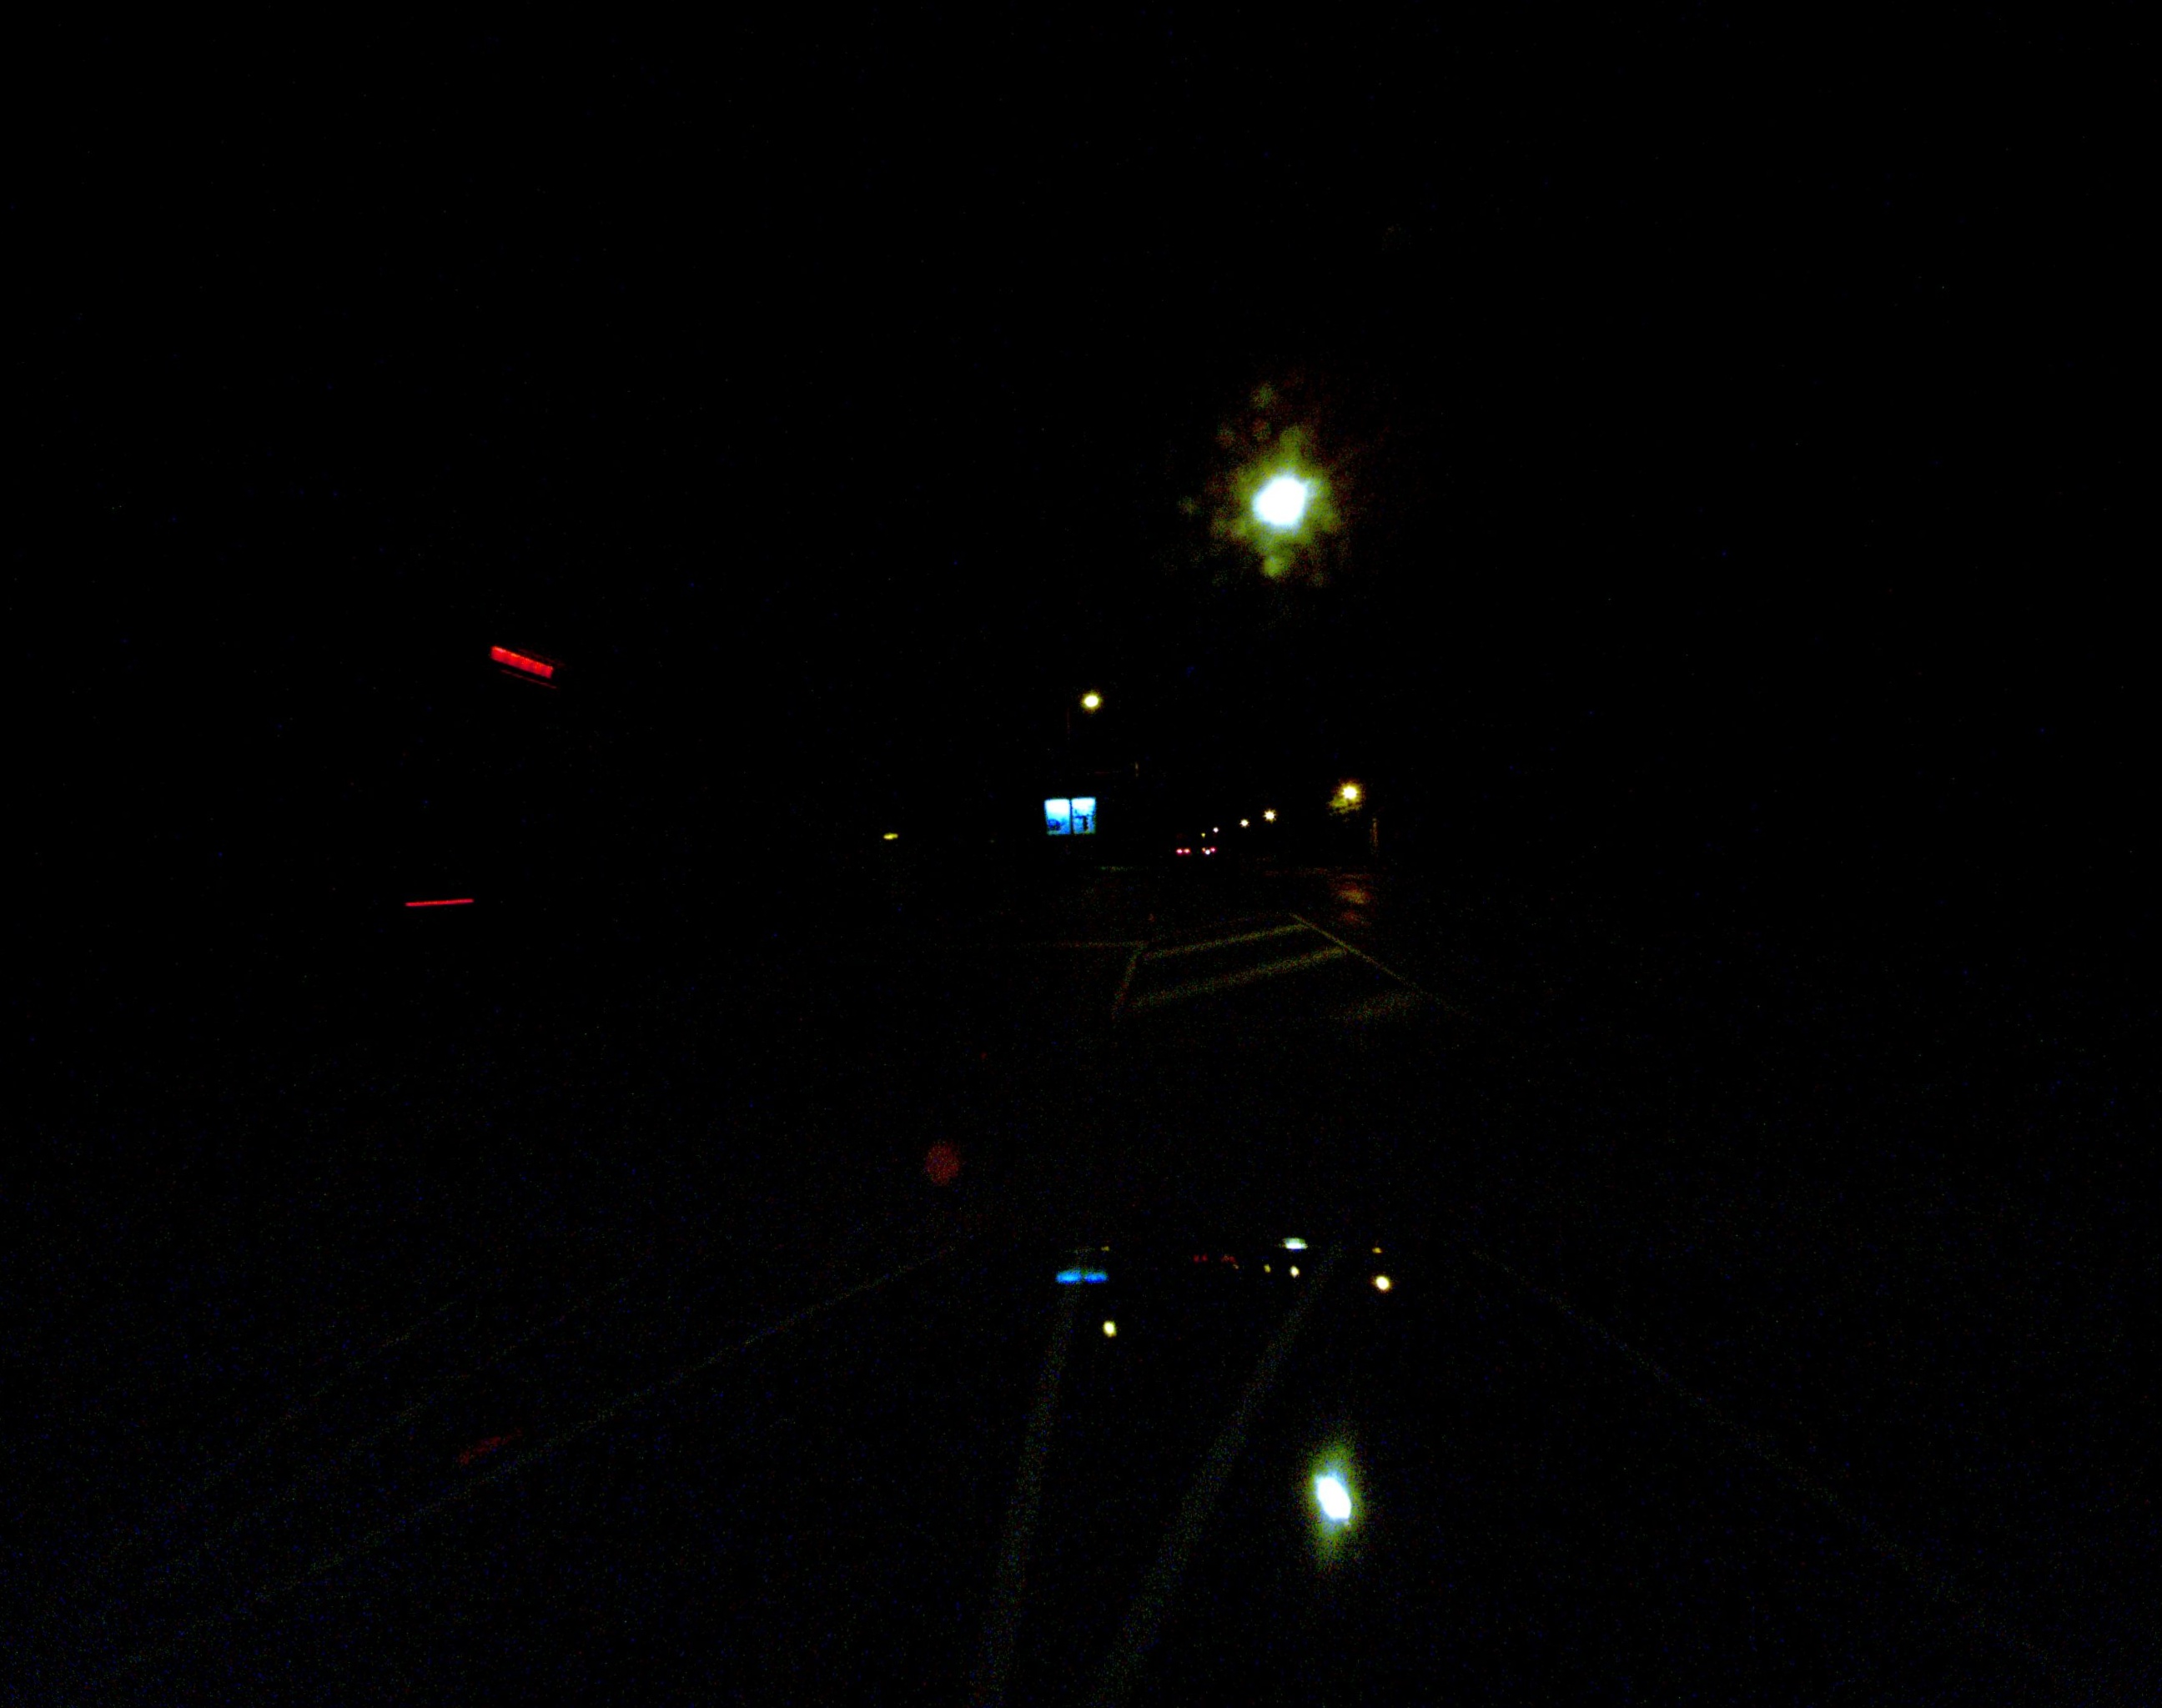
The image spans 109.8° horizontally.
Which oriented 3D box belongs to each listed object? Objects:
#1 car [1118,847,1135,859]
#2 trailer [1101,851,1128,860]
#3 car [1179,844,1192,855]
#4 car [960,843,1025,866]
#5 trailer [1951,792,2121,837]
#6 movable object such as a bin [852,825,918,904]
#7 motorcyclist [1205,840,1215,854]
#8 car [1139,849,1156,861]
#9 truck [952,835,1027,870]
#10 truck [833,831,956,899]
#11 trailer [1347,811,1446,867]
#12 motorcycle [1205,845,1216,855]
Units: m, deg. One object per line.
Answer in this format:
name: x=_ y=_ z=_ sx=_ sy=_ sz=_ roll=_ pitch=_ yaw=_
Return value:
car: x=6.199 y=-0.166 z=103.588 sx=1.939 sy=1.543 sz=4.000 roll=-3 pitch=0 yaw=0
trailer: x=4.183 y=0.124 z=92.823 sx=2.178 sy=0.961 sz=9.622 roll=-4 pitch=0 yaw=9
car: x=16.607 y=-0.719 z=120.843 sx=1.997 sy=1.617 sz=4.754 roll=-2 pitch=1 yaw=6
car: x=-7.508 y=0.037 z=64.670 sx=5.082 sy=1.826 sz=1.990 roll=-2 pitch=1 yaw=10
trailer: x=42.363 y=-1.715 z=33.766 sx=5.237 sy=1.613 sz=1.879 roll=-3 pitch=0 yaw=-1
movable object such as a bin: x=-6.296 y=0.331 z=24.532 sx=1.684 sy=2.369 sz=1.616 roll=-3 pitch=1 yaw=-4
motorcyclist: x=16.814 y=-0.919 z=99.095 sx=1.137 sy=1.889 sz=0.833 roll=-2 pitch=1 yaw=1
car: x=9.095 y=0.143 z=104.101 sx=1.998 sy=1.543 sz=4.326 roll=-3 pitch=0 yaw=1
truck: x=-7.456 y=-0.148 z=62.039 sx=5.541 sy=2.585 sz=2.473 roll=-2 pitch=1 yaw=6
truck: x=-7.463 y=0.378 z=31.554 sx=2.187 sy=2.409 sz=7.320 roll=-3 pitch=0 yaw=9
trailer: x=16.732 y=-0.765 z=40.494 sx=4.357 sy=2.704 sz=2.001 roll=-3 pitch=0 yaw=6
motorcycle: x=16.819 y=-0.519 z=99.008 sx=1.000 sy=1.297 sz=2.826 roll=-2 pitch=1 yaw=1
